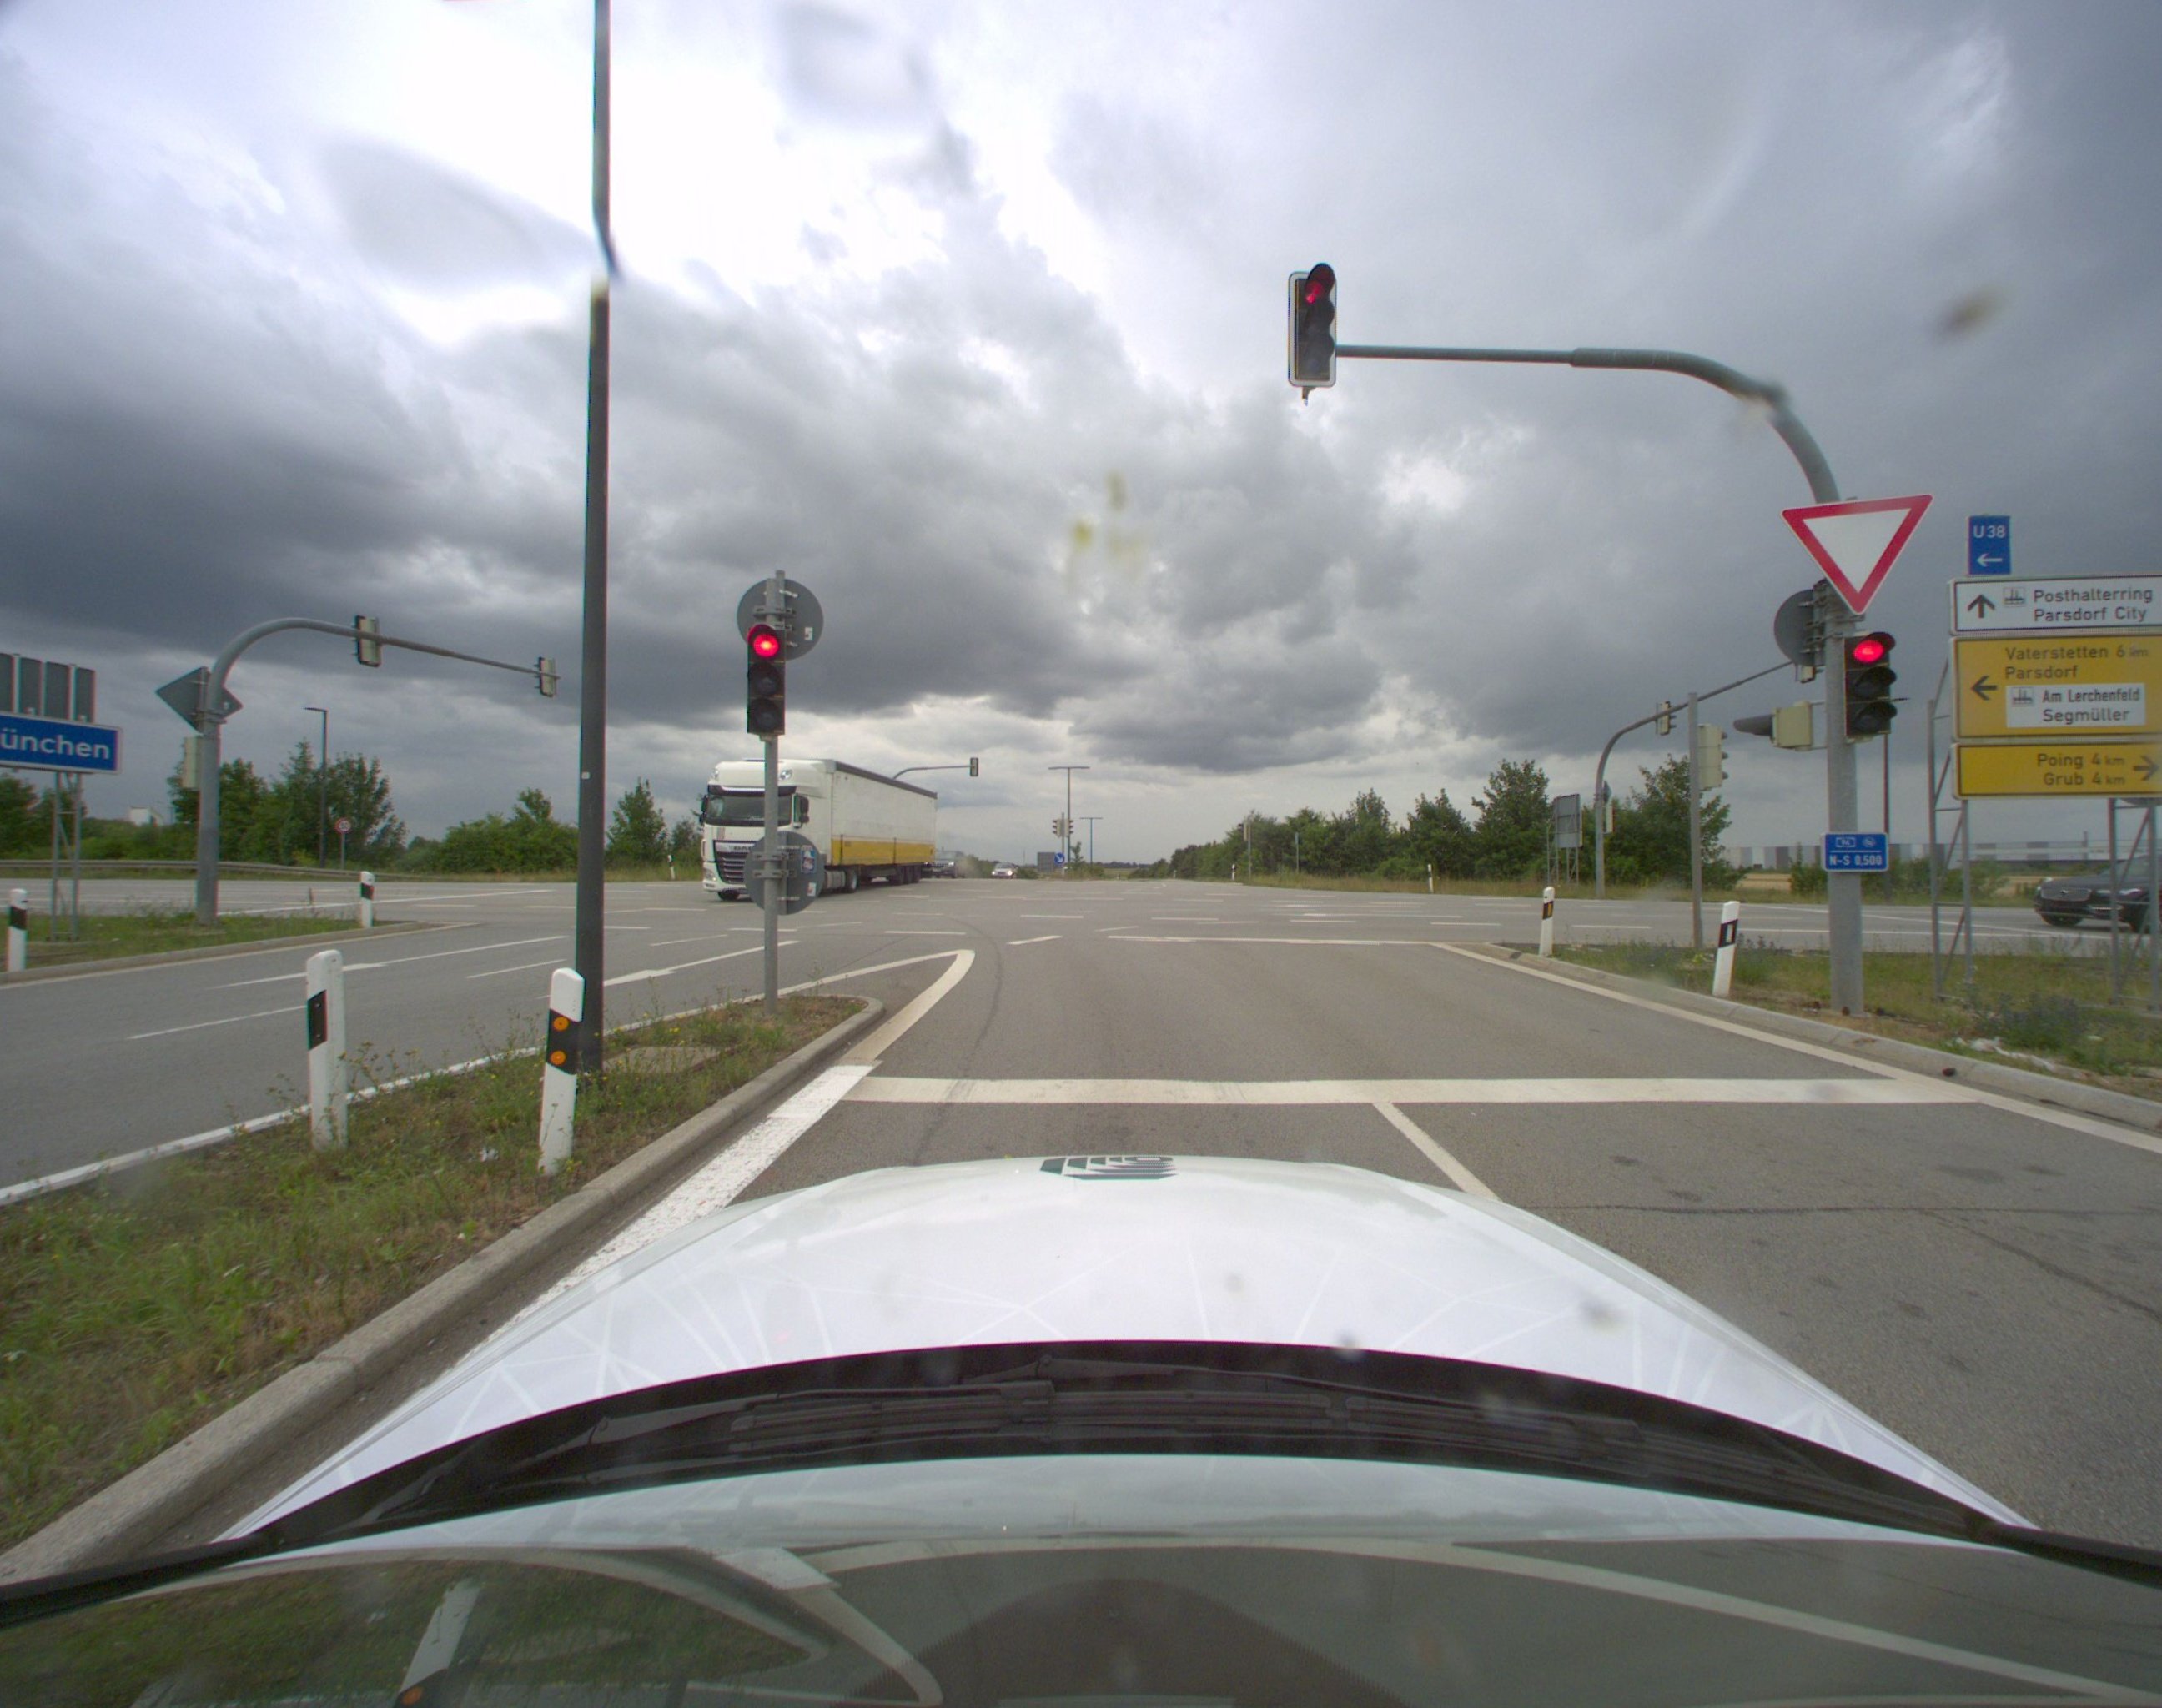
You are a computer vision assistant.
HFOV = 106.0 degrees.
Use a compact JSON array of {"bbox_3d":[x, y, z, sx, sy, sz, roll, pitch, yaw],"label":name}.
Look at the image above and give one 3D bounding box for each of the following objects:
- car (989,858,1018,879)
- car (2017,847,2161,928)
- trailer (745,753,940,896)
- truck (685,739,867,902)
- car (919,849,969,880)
[{"bbox_3d":[-6.312,1.173,66.930,1.803,1.520,4.244,0,1,2],"label":"car"},{"bbox_3d":[24.095,0.712,17.599,4.951,1.684,2.006,0,0,10],"label":"car"},{"bbox_3d":[-8.281,-0.819,31.069,2.681,4.210,13.851,0,0,3],"label":"trailer"},{"bbox_3d":[-8.651,-0.835,24.043,2.638,4.141,6.409,0,-1,3],"label":"truck"},{"bbox_3d":[-7.766,0.589,46.637,1.986,1.694,4.457,0,-1,2],"label":"car"}]
